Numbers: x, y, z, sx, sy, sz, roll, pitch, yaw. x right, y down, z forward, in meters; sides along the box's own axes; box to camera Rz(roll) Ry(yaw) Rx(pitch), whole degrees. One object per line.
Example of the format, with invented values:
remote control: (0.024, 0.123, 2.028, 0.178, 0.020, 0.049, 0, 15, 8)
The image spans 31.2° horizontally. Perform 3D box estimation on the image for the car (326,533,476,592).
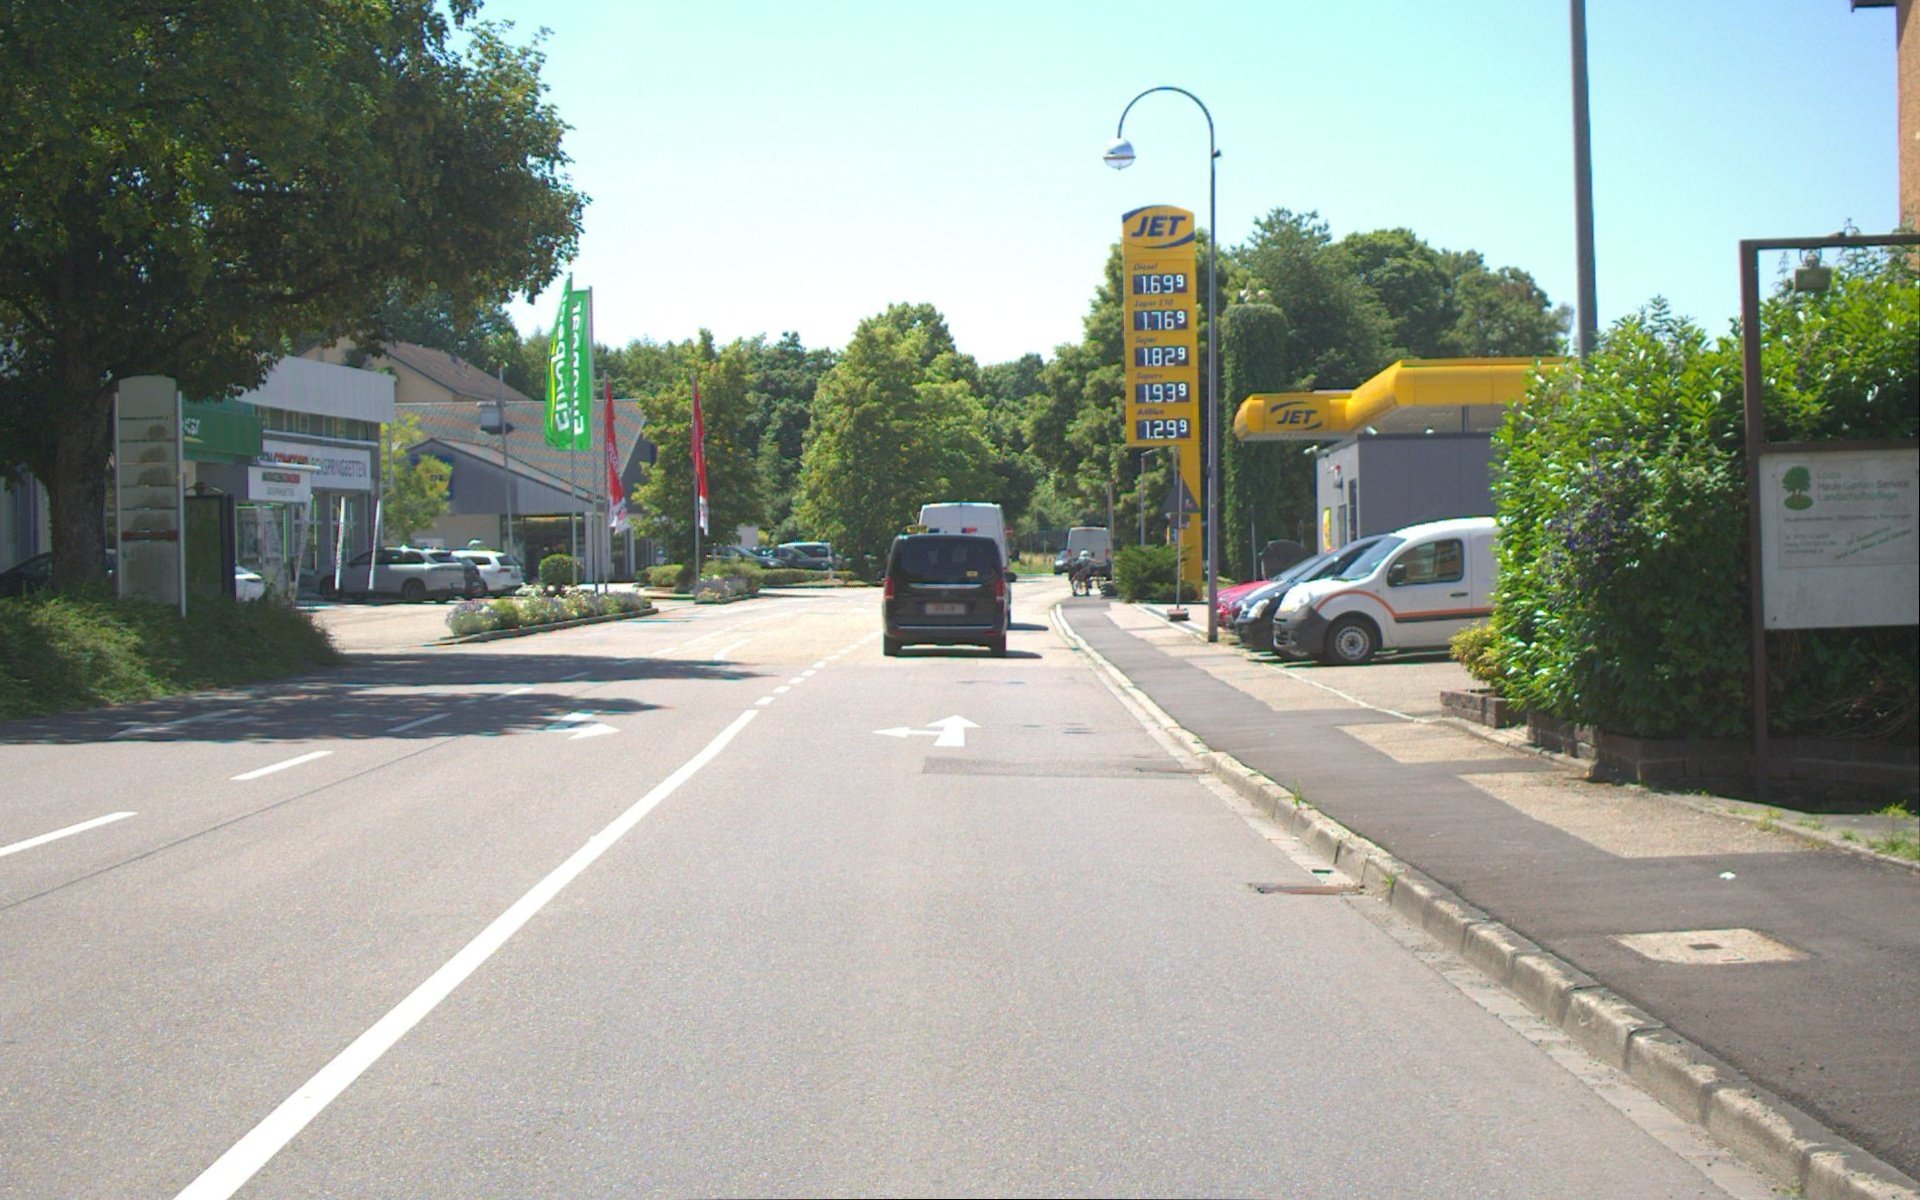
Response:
car: (-16.899, -1.156, 103.958, 4.045, 1.700, 1.902, 1, 2, 17)

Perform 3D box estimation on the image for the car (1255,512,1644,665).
car: (6.221, -0.169, 44.004, 4.556, 1.711, 2.000, -2, 2, -4)

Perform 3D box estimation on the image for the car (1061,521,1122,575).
car: (6.394, -2.542, 166.635, 2.353, 2.538, 4.954, 1, 2, 9)

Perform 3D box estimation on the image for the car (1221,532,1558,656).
car: (5.761, -0.104, 46.364, 4.156, 1.452, 1.908, -2, 2, -5)

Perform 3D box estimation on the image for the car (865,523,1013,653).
car: (-0.365, -0.221, 52.876, 1.993, 1.886, 4.001, 0, 2, -4)

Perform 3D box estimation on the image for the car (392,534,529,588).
car: (-16.208, -1.282, 111.699, 3.988, 1.656, 1.999, 1, 2, 9)

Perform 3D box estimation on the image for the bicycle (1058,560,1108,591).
bicycle: (3.887, -0.771, 108.478, 0.557, 0.884, 1.716, 3, 5, 44)

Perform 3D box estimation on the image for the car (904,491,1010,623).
car: (-0.090, -0.967, 72.594, 2.120, 2.668, 5.662, 0, 2, -1)

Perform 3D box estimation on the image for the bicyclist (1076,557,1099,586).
bicyclist: (4.040, -0.903, 108.625, 0.557, 0.850, 0.469, 3, 5, 44)
